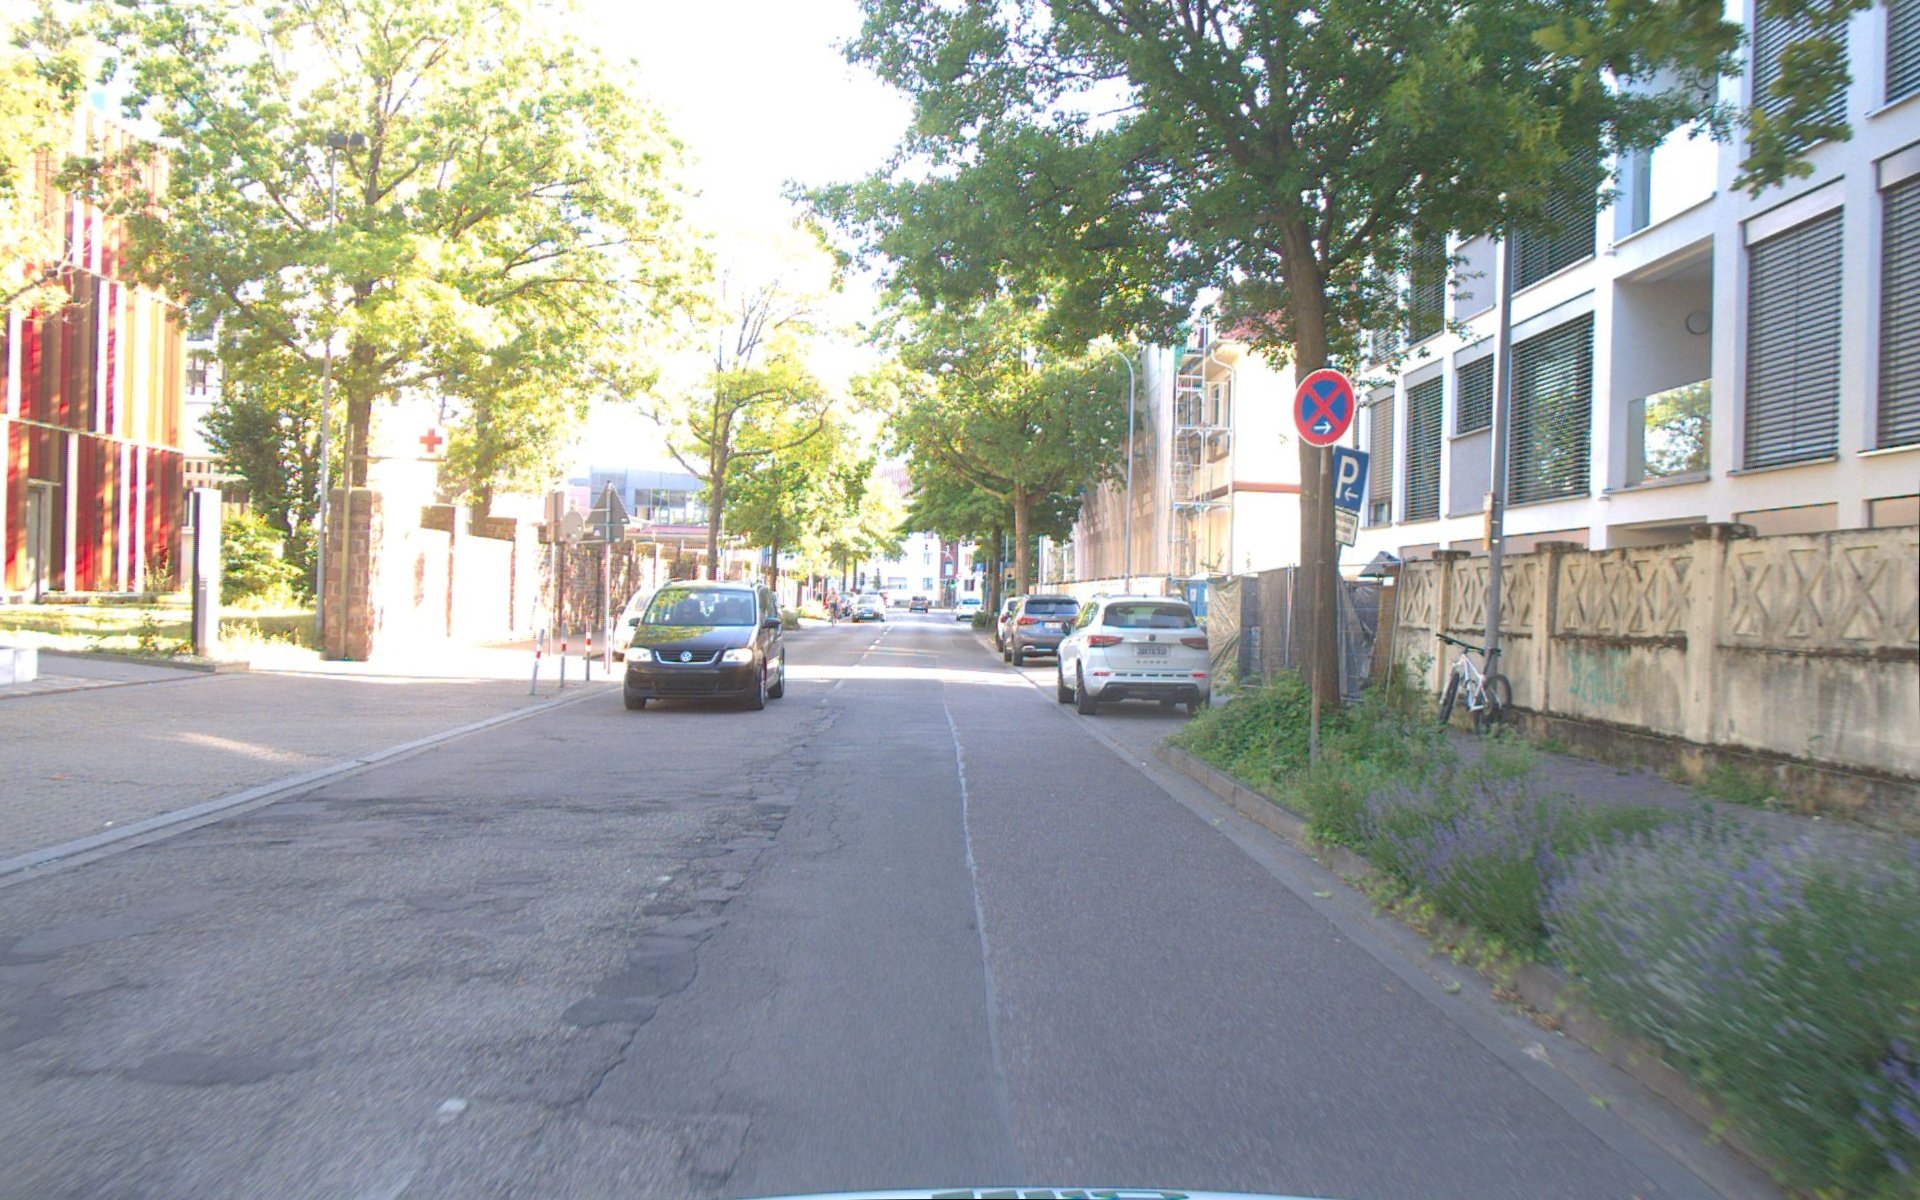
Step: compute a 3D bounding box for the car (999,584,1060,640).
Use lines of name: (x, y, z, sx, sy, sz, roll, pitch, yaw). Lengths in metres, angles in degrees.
car: (1.992, 0.312, 48.262, 1.688, 1.536, 3.993, 0, 1, 2)

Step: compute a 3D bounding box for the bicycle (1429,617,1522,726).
bicycle: (5.450, 0.728, 17.577, 0.330, 1.059, 1.830, 2, 0, -2)

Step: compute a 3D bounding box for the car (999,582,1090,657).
car: (1.962, 0.416, 39.433, 1.678, 1.667, 4.300, 1, 1, -3)

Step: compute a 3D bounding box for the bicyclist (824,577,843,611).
bicyclist: (-5.815, -0.279, 76.196, 0.706, 1.549, 1.005, 3, 0, 1)

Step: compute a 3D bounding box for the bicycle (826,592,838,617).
bicycle: (-5.886, 0.204, 76.125, 0.350, 1.140, 1.866, 3, 0, 0)

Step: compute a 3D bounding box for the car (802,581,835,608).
car: (-8.278, -0.335, 96.823, 1.576, 1.484, 3.707, 3, 0, -1)

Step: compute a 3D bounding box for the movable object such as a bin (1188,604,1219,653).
movable object such as a bin: (5.390, 0.629, 36.644, 0.585, 1.045, 0.564, 3, 0, 2)

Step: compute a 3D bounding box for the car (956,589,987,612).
car: (0.710, 0.017, 104.650, 1.795, 1.346, 4.494, 1, 0, -2)

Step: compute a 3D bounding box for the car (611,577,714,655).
car: (-6.228, 0.301, 34.952, 1.543, 1.426, 3.749, 5, 0, -2)

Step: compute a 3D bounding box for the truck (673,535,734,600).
truck: (-15.838, -1.969, 102.506, 2.677, 3.775, 7.426, 3, 0, -2)

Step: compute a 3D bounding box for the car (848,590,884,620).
car: (-5.063, 0.255, 89.323, 1.785, 1.461, 3.967, 3, 1, -3)

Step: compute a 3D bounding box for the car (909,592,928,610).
car: (-3.712, 0.093, 148.524, 1.606, 1.468, 3.421, 3, 0, -1)

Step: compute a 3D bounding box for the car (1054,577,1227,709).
car: (2.457, 0.532, 23.445, 1.757, 1.644, 4.124, 2, 0, -3)

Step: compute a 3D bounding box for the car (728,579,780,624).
car: (-7.244, 0.038, 58.351, 1.654, 1.446, 3.834, 3, 0, -6)

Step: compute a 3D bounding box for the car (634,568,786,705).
car: (-3.229, 0.420, 21.981, 1.611, 1.639, 4.018, -1, 1, -3)
